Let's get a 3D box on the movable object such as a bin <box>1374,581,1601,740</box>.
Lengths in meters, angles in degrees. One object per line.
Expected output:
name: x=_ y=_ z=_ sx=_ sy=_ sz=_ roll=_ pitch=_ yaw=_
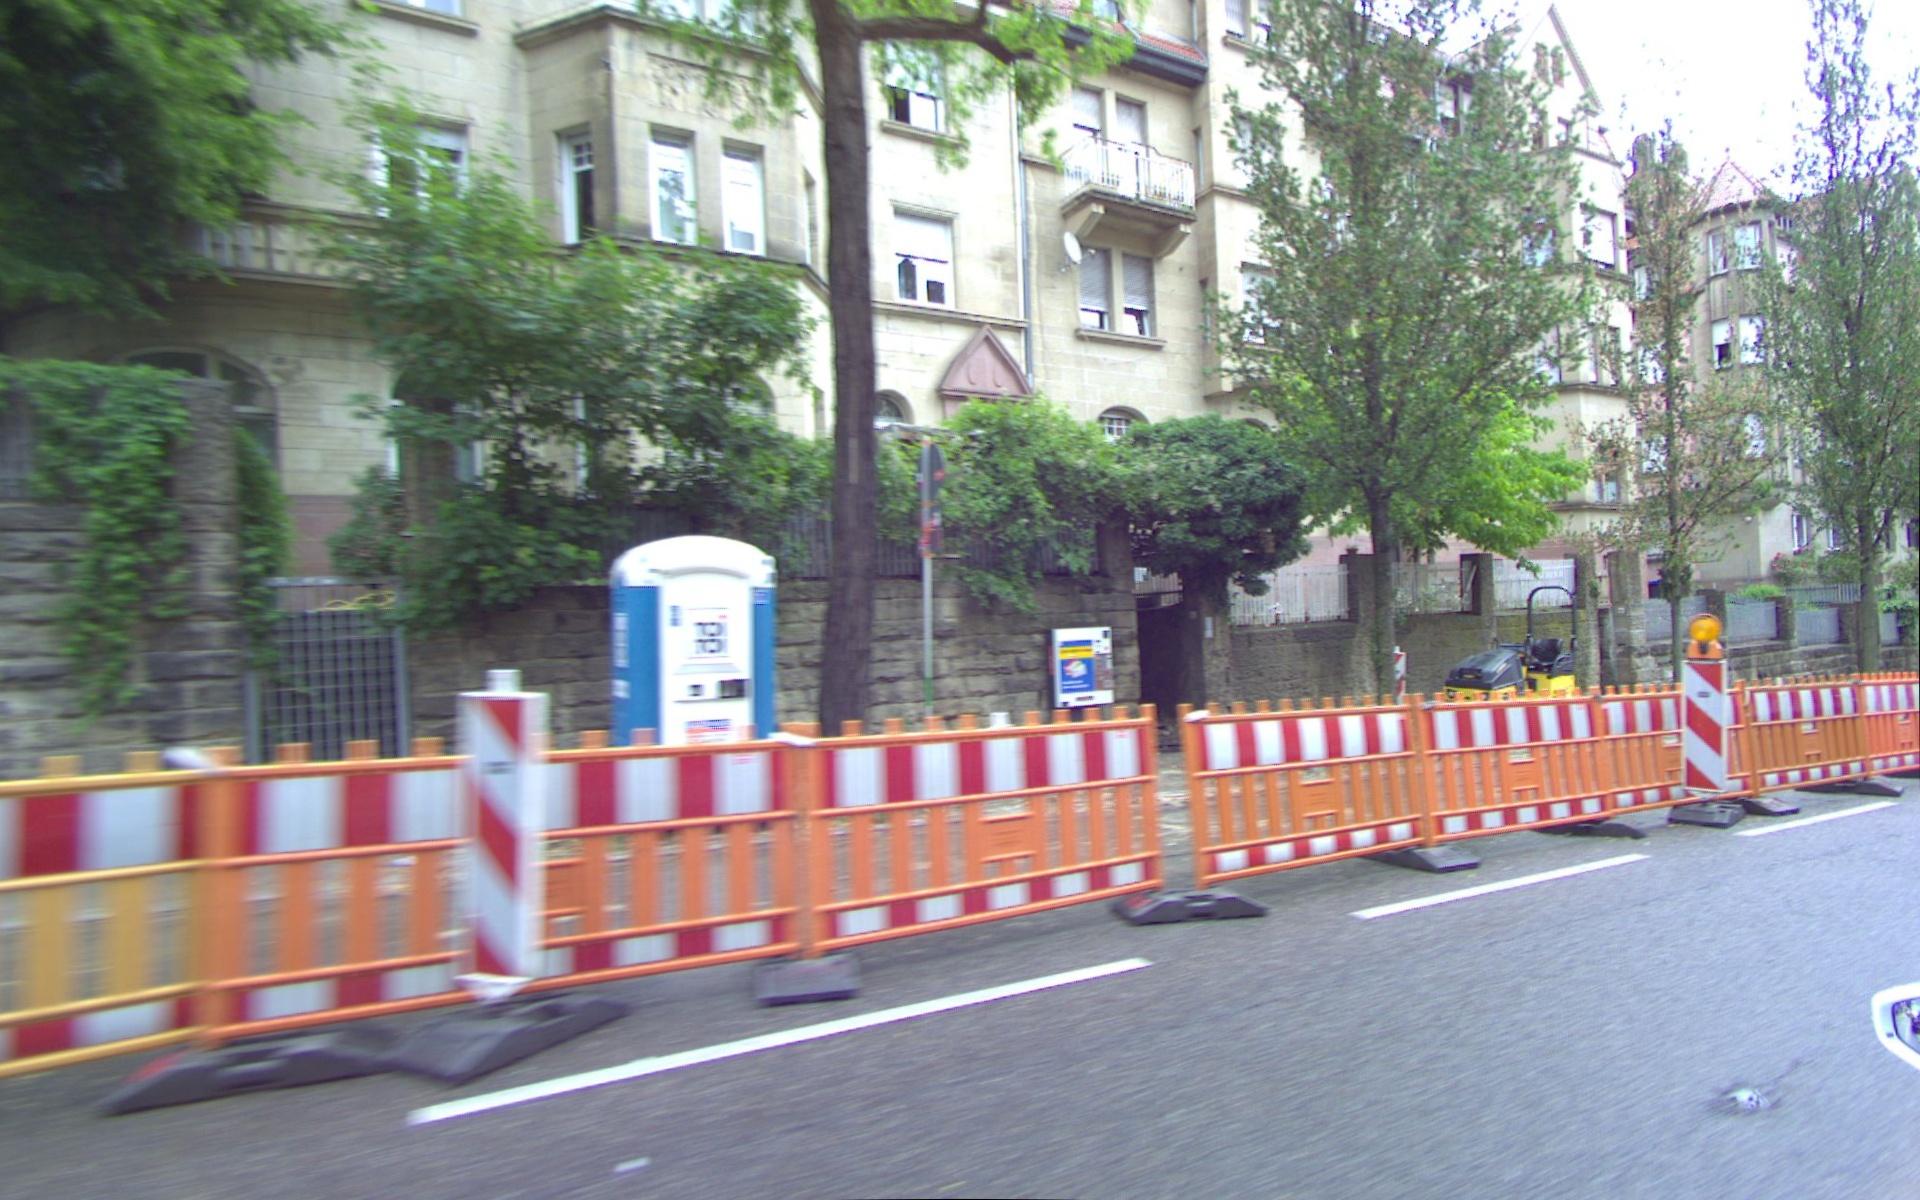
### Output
movable object such as a bin: x=8.503 y=0.934 z=16.256 sx=2.779 sy=2.329 sz=1.987 roll=0 pitch=-2 yaw=-27
